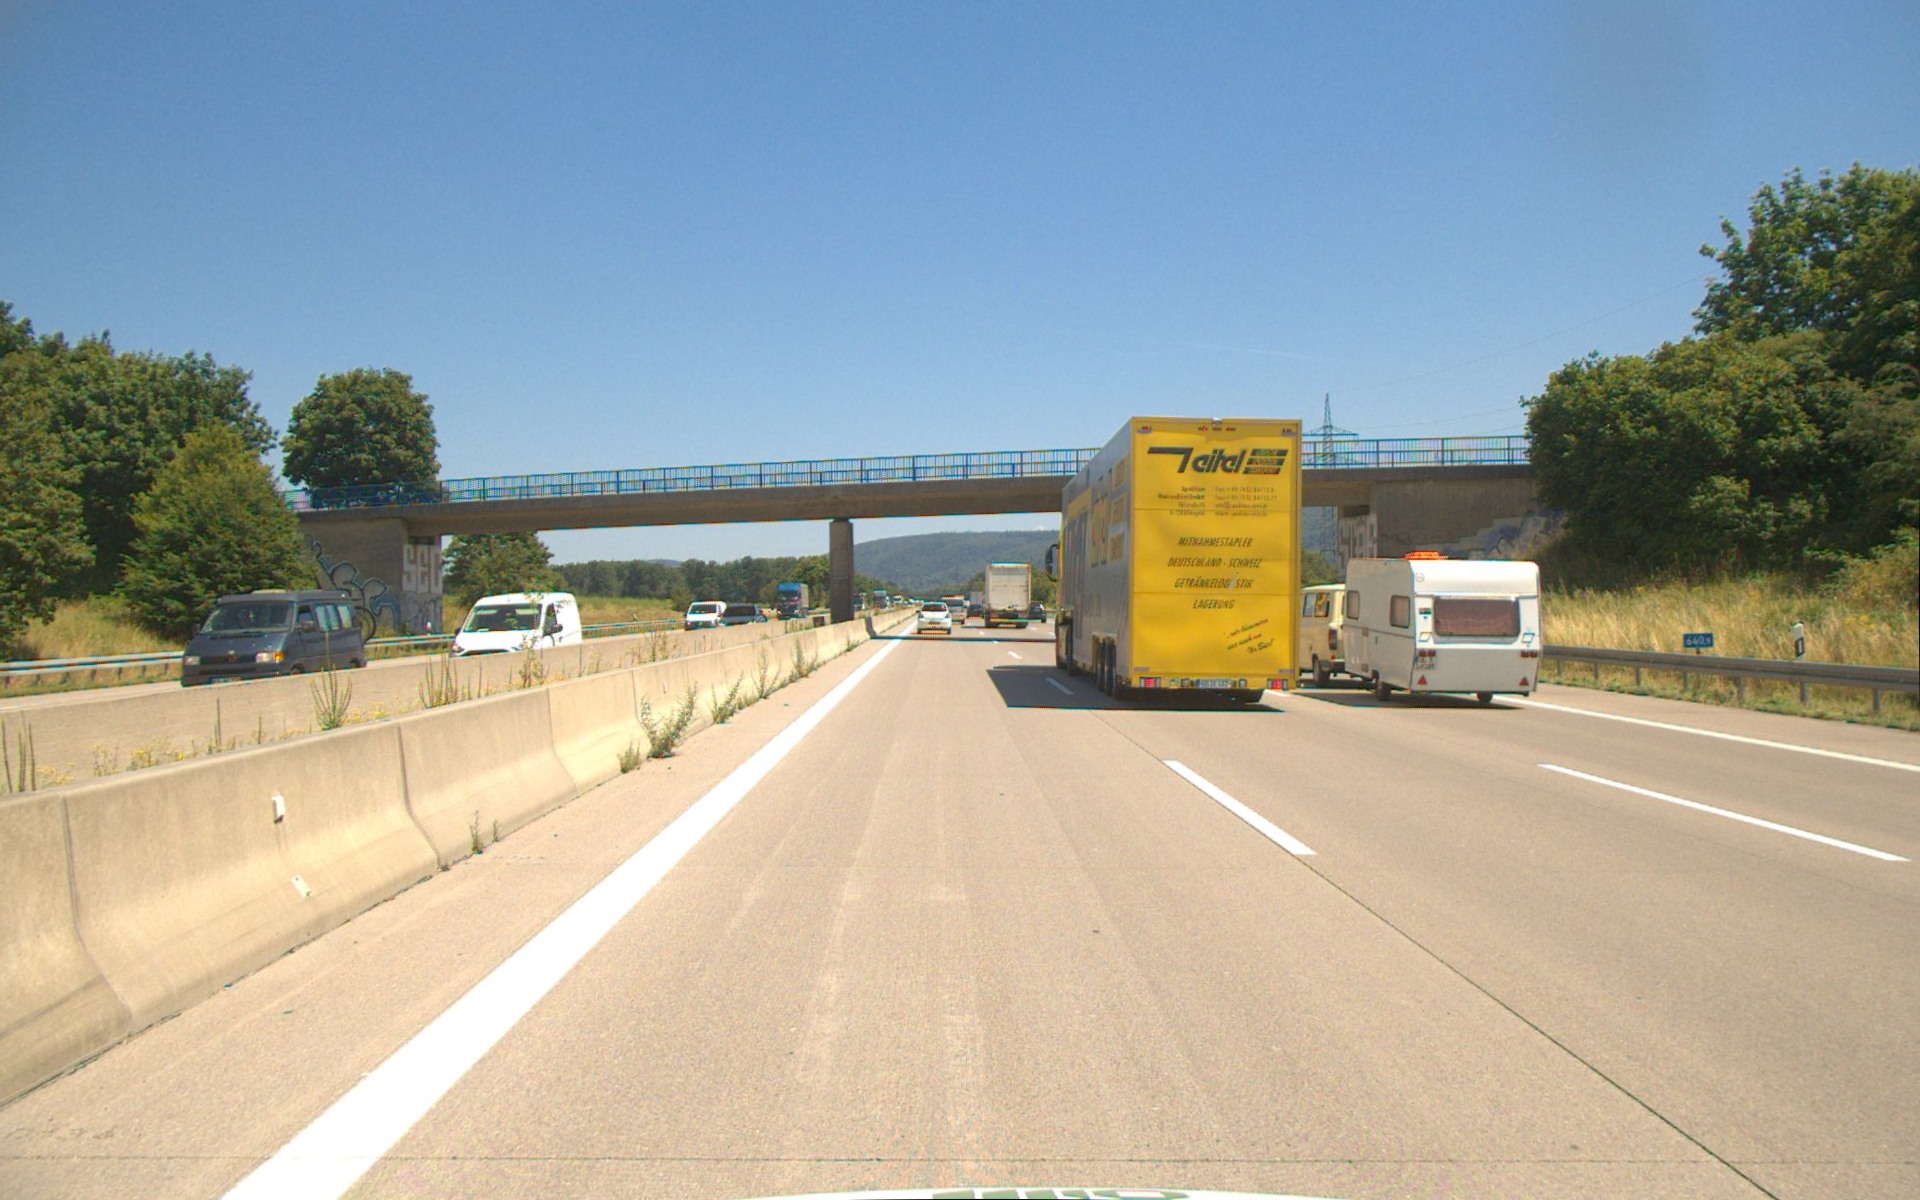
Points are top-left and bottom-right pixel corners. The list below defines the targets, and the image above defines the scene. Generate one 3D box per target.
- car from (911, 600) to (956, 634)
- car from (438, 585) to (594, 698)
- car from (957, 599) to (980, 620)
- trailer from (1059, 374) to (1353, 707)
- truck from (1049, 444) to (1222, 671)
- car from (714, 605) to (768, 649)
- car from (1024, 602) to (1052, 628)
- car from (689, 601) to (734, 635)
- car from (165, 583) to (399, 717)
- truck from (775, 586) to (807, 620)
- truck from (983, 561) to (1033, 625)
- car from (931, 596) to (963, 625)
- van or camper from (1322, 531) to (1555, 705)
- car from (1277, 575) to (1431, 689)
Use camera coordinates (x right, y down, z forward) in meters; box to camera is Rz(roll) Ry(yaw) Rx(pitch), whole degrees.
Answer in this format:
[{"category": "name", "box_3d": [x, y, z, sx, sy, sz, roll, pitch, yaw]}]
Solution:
[{"category": "car", "box_3d": [-1.273, 0.818, 80.856, 2.064, 1.563, 4.122, 1, 0, 0]}, {"category": "car", "box_3d": [-8.735, 0.752, 32.975, 1.828, 2.015, 4.788, -2, 0, -1]}, {"category": "car", "box_3d": [0.875, 0.961, 164.796, 2.177, 2.049, 3.999, 1, 0, -1]}, {"category": "trailer", "box_3d": [3.878, -0.863, 30.059, 3.150, 4.643, 13.455, 1, 0, -1]}, {"category": "truck", "box_3d": [3.798, -0.895, 37.209, 3.150, 4.643, 5.835, 1, 0, -1]}, {"category": "car", "box_3d": [-9.743, 1.167, 73.788, 1.828, 1.871, 4.788, -1, 0, -1]}, {"category": "car", "box_3d": [6.385, 1.215, 135.605, 1.953, 2.049, 3.999, 1, 0, -1]}, {"category": "car", "box_3d": [-13.689, 0.988, 91.430, 1.828, 1.770, 4.788, -1, 0, -1]}, {"category": "car", "box_3d": [-12.410, 0.828, 30.791, 1.953, 2.175, 5.881, -2, 0, -1]}, {"category": "truck", "box_3d": [-18.731, 0.279, 183.842, 2.925, 3.622, 7.491, 1, 0, -1]}, {"category": "truck", "box_3d": [2.909, -0.425, 102.589, 2.763, 3.827, 6.282, 1, 0, -1]}, {"category": "car", "box_3d": [-0.934, 0.726, 119.466, 2.208, 2.049, 4.297, 1, 0, 0]}, {"category": "van or camper", "box_3d": [7.789, 0.256, 27.564, 2.179, 2.575, 5.429, 1, 0, -1]}, {"category": "car", "box_3d": [7.621, 0.580, 32.369, 1.953, 2.049, 3.999, 1, 0, -1]}]
